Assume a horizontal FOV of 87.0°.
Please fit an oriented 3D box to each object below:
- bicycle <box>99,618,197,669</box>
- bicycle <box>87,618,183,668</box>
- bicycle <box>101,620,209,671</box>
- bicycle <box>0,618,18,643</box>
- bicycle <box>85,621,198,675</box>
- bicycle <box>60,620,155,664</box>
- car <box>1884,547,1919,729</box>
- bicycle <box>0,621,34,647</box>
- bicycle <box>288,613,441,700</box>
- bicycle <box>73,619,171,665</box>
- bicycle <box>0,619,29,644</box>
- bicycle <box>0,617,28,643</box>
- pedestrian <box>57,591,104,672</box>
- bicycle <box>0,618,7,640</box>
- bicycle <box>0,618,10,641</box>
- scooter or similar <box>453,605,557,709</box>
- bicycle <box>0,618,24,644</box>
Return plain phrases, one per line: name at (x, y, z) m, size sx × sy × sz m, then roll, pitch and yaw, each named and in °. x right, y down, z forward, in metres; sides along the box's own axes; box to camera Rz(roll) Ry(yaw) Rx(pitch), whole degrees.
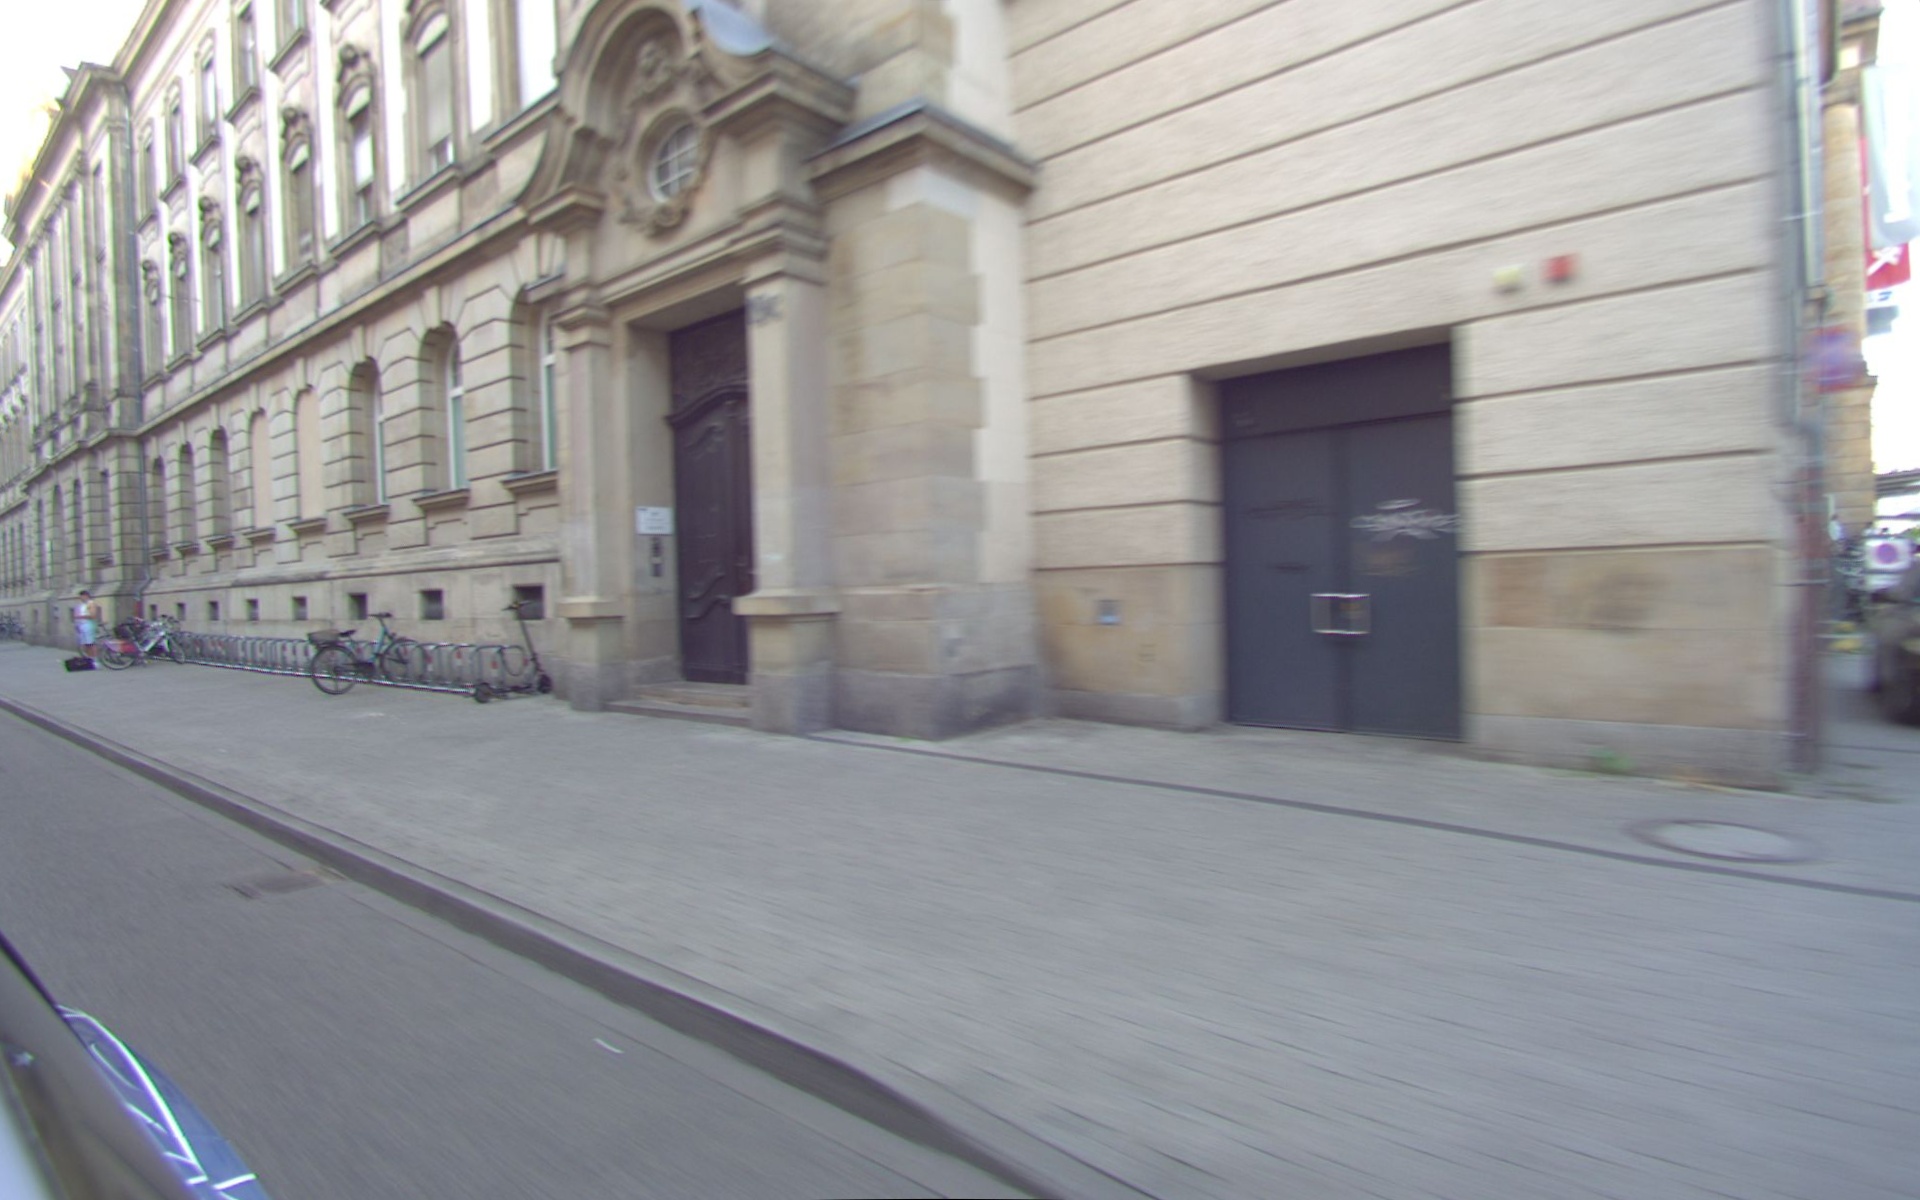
bicycle at (-20.066, 1.062, 25.044) m, size 0.499 × 1.116 × 1.779 m, roll -1°, pitch 2°, yaw 35°
bicycle at (-21.000, 1.070, 25.798) m, size 0.499 × 1.116 × 1.779 m, roll -1°, pitch 2°, yaw 35°
bicycle at (-19.459, 1.082, 24.501) m, size 0.618 × 1.069 × 1.921 m, roll -1°, pitch 2°, yaw 35°
bicycle at (-45.116, 1.469, 46.953) m, size 0.728 × 1.086 × 1.921 m, roll -1°, pitch 3°, yaw 34°
bicycle at (-18.956, 1.087, 23.489) m, size 0.619 × 1.069 × 1.918 m, roll 0°, pitch 3°, yaw 39°
bicycle at (-23.617, 1.144, 28.068) m, size 0.619 × 1.069 × 1.918 m, roll -1°, pitch 2°, yaw 40°
car at (9.148, 0.244, 8.571) m, size 1.749 × 1.381 × 3.964 m, roll -2°, pitch 0°, yaw 40°
bicycle at (-41.844, 1.522, 44.206) m, size 0.720 × 1.053 × 1.918 m, roll -2°, pitch 1°, yaw 37°
bicycle at (-8.989, 0.817, 15.362) m, size 0.616 × 1.069 × 1.927 m, roll -1°, pitch 4°, yaw 26°
bicycle at (-22.605, 1.115, 27.332) m, size 0.618 × 1.069 × 1.921 m, roll -1°, pitch 2°, yaw 35°
bicycle at (-43.451, 1.448, 45.689) m, size 0.728 × 1.086 × 1.921 m, roll -1°, pitch 3°, yaw 34°
bicycle at (-42.588, 1.375, 44.753) m, size 0.747 × 1.086 × 1.918 m, roll -1°, pitch 3°, yaw 40°
pedestrian at (-20.795, 0.740, 23.931) m, size 0.753 × 1.865 × 0.583 m, roll -2°, pitch 2°, yaw 36°
bicycle at (-48.688, 1.512, 50.177) m, size 0.728 × 1.086 × 1.921 m, roll -1°, pitch 3°, yaw 34°
bicycle at (-47.786, 1.491, 49.403) m, size 0.728 × 1.086 × 1.921 m, roll -1°, pitch 3°, yaw 34°
scooter or similar at (-5.894, 0.718, 13.152) m, size 0.495 × 1.242 × 1.125 m, roll -2°, pitch 1°, yaw 29°
bicycle at (-44.075, 1.453, 46.147) m, size 0.728 × 1.086 × 1.921 m, roll -1°, pitch 3°, yaw 34°
